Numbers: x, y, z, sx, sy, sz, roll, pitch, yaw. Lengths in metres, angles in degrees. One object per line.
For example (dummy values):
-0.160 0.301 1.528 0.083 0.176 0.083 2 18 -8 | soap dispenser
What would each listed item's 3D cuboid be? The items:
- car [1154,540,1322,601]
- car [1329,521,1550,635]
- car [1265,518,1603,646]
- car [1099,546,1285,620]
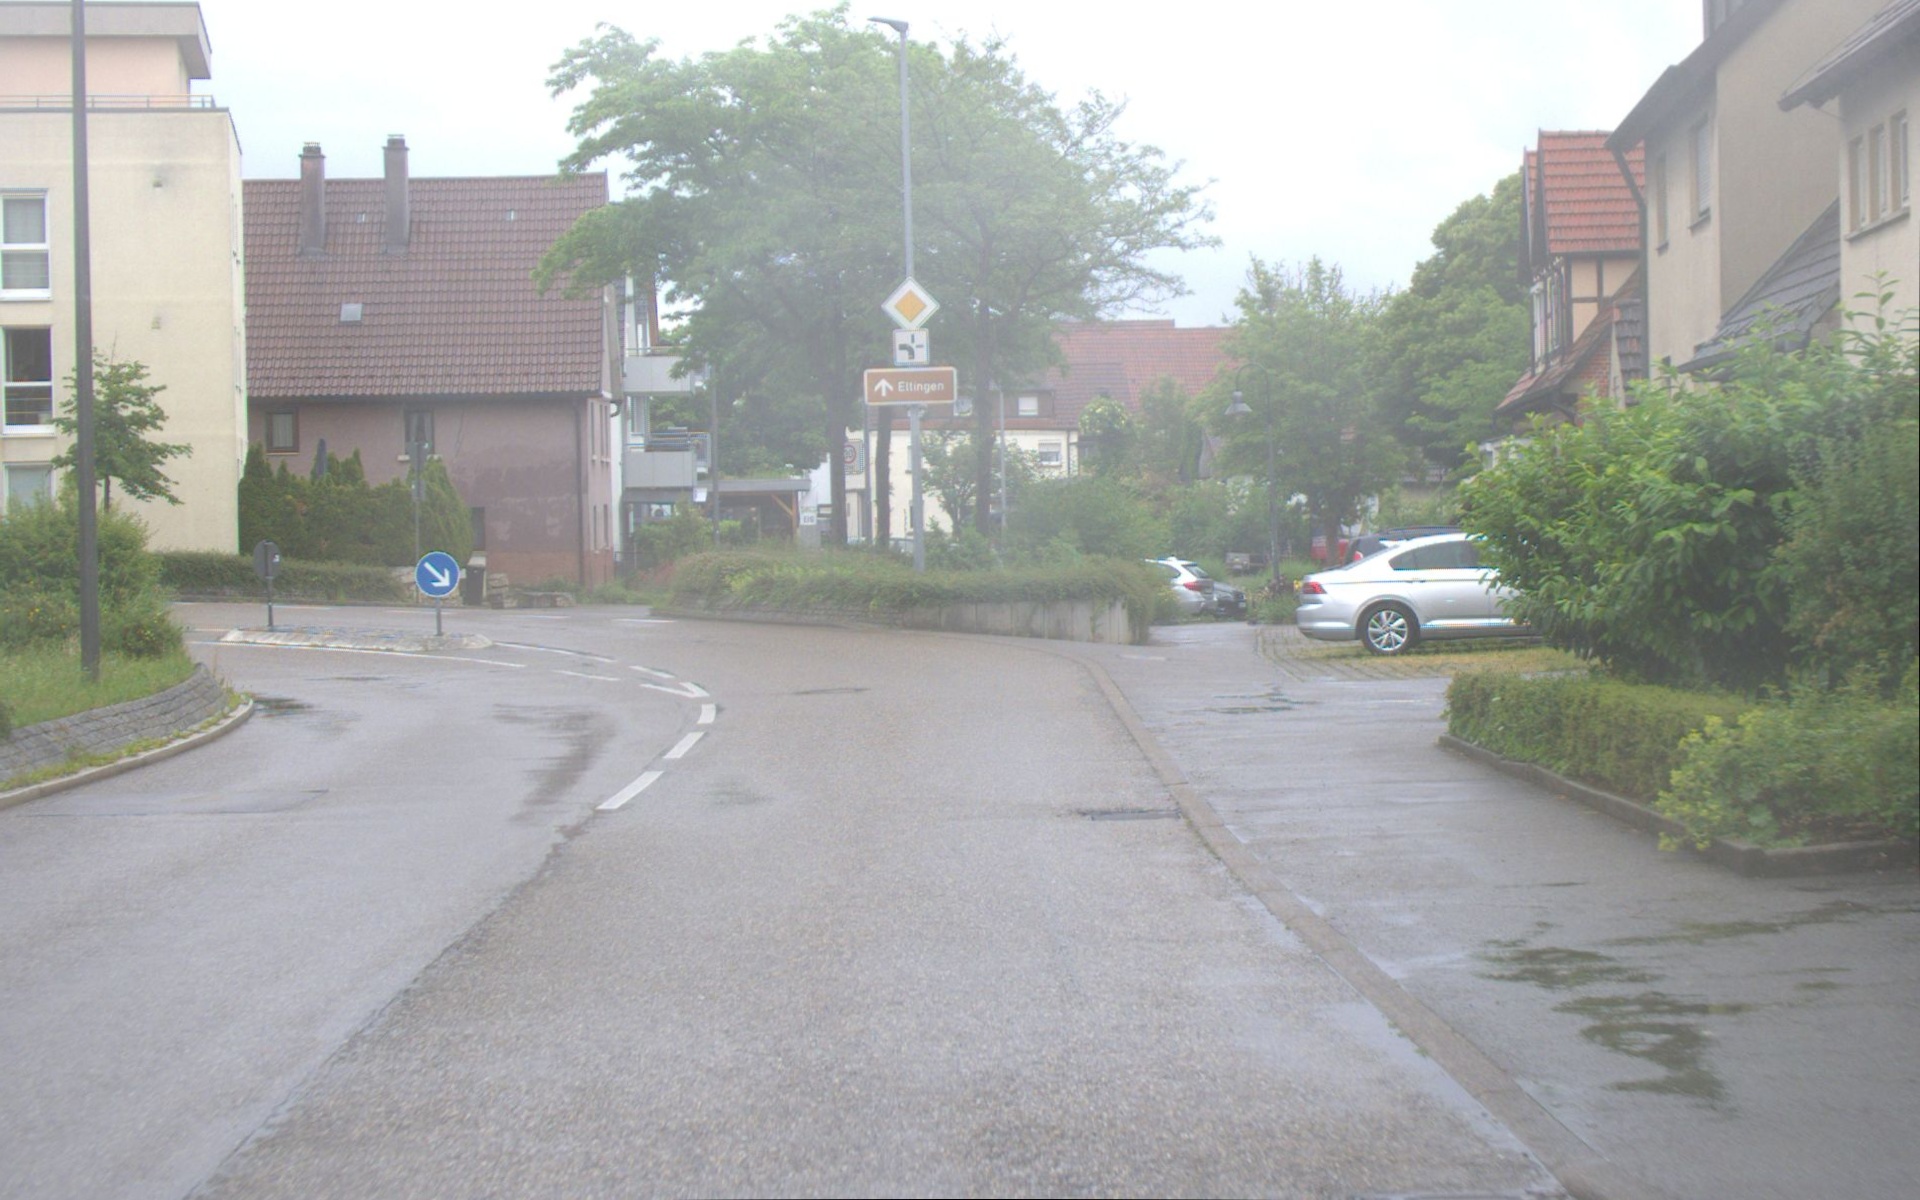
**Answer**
6.825 -0.723 84.207 3.988 1.415 1.999 -1 1 8 | car
6.654 -0.305 47.591 2.912 1.518 1.390 -1 1 12 | car
5.817 -0.225 42.055 3.955 1.404 1.999 -2 1 10 | car
5.340 -0.391 78.876 3.989 1.620 1.999 -1 1 12 | car
